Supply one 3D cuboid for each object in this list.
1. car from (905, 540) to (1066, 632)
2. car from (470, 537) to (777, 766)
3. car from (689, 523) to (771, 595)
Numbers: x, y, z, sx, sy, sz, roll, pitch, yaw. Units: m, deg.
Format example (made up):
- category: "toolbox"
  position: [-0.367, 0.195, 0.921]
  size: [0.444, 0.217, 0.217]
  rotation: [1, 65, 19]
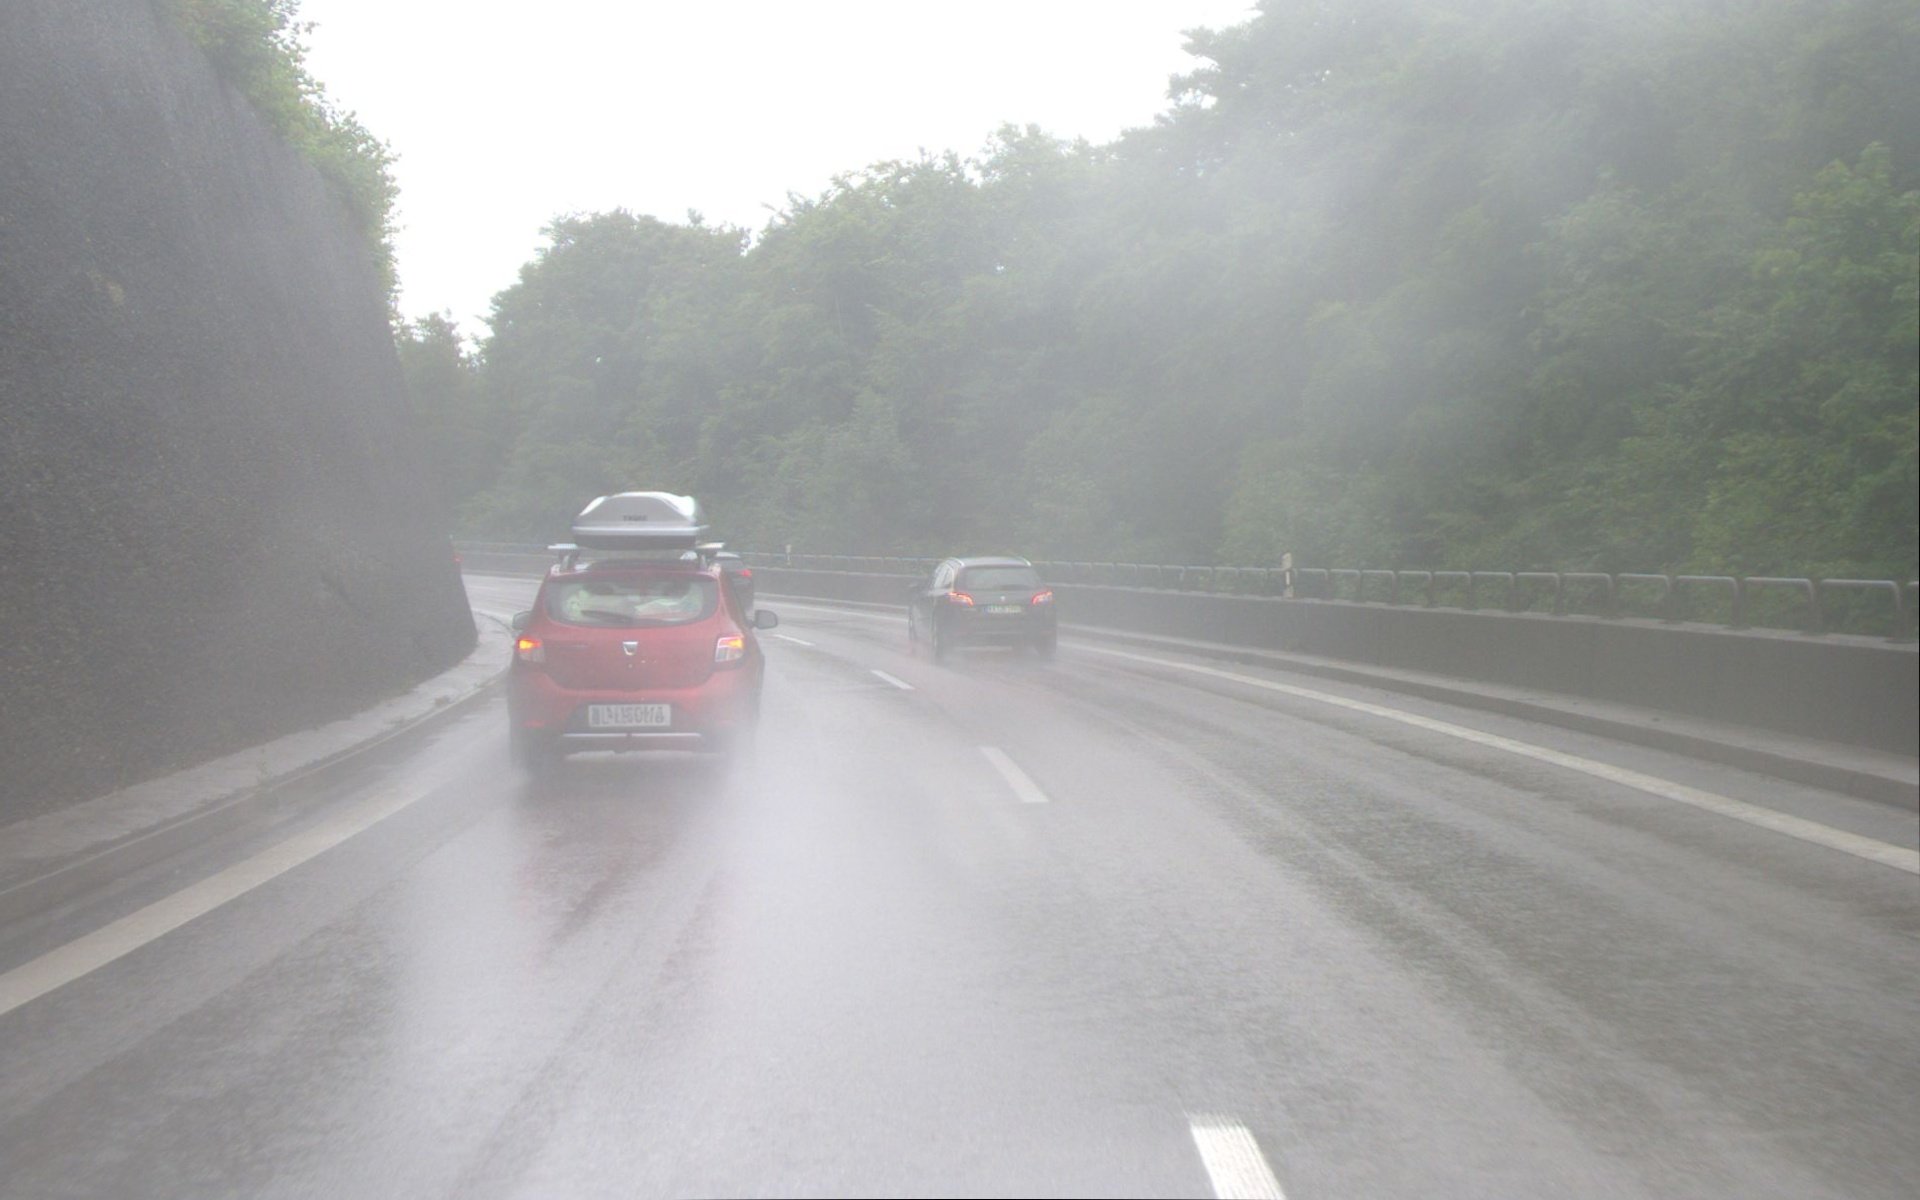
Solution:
- category: "car"
  position: [0.339, -0.214, 50.932]
  size: [1.800, 1.303, 4.001]
  rotation: [0, 1, -8]
- category: "car"
  position: [-2.384, 0.325, 25.279]
  size: [1.993, 1.546, 4.000]
  rotation: [0, 1, -2]
- category: "car"
  position: [-5.775, -1.004, 86.435]
  size: [1.993, 1.744, 4.000]
  rotation: [1, 0, -3]
